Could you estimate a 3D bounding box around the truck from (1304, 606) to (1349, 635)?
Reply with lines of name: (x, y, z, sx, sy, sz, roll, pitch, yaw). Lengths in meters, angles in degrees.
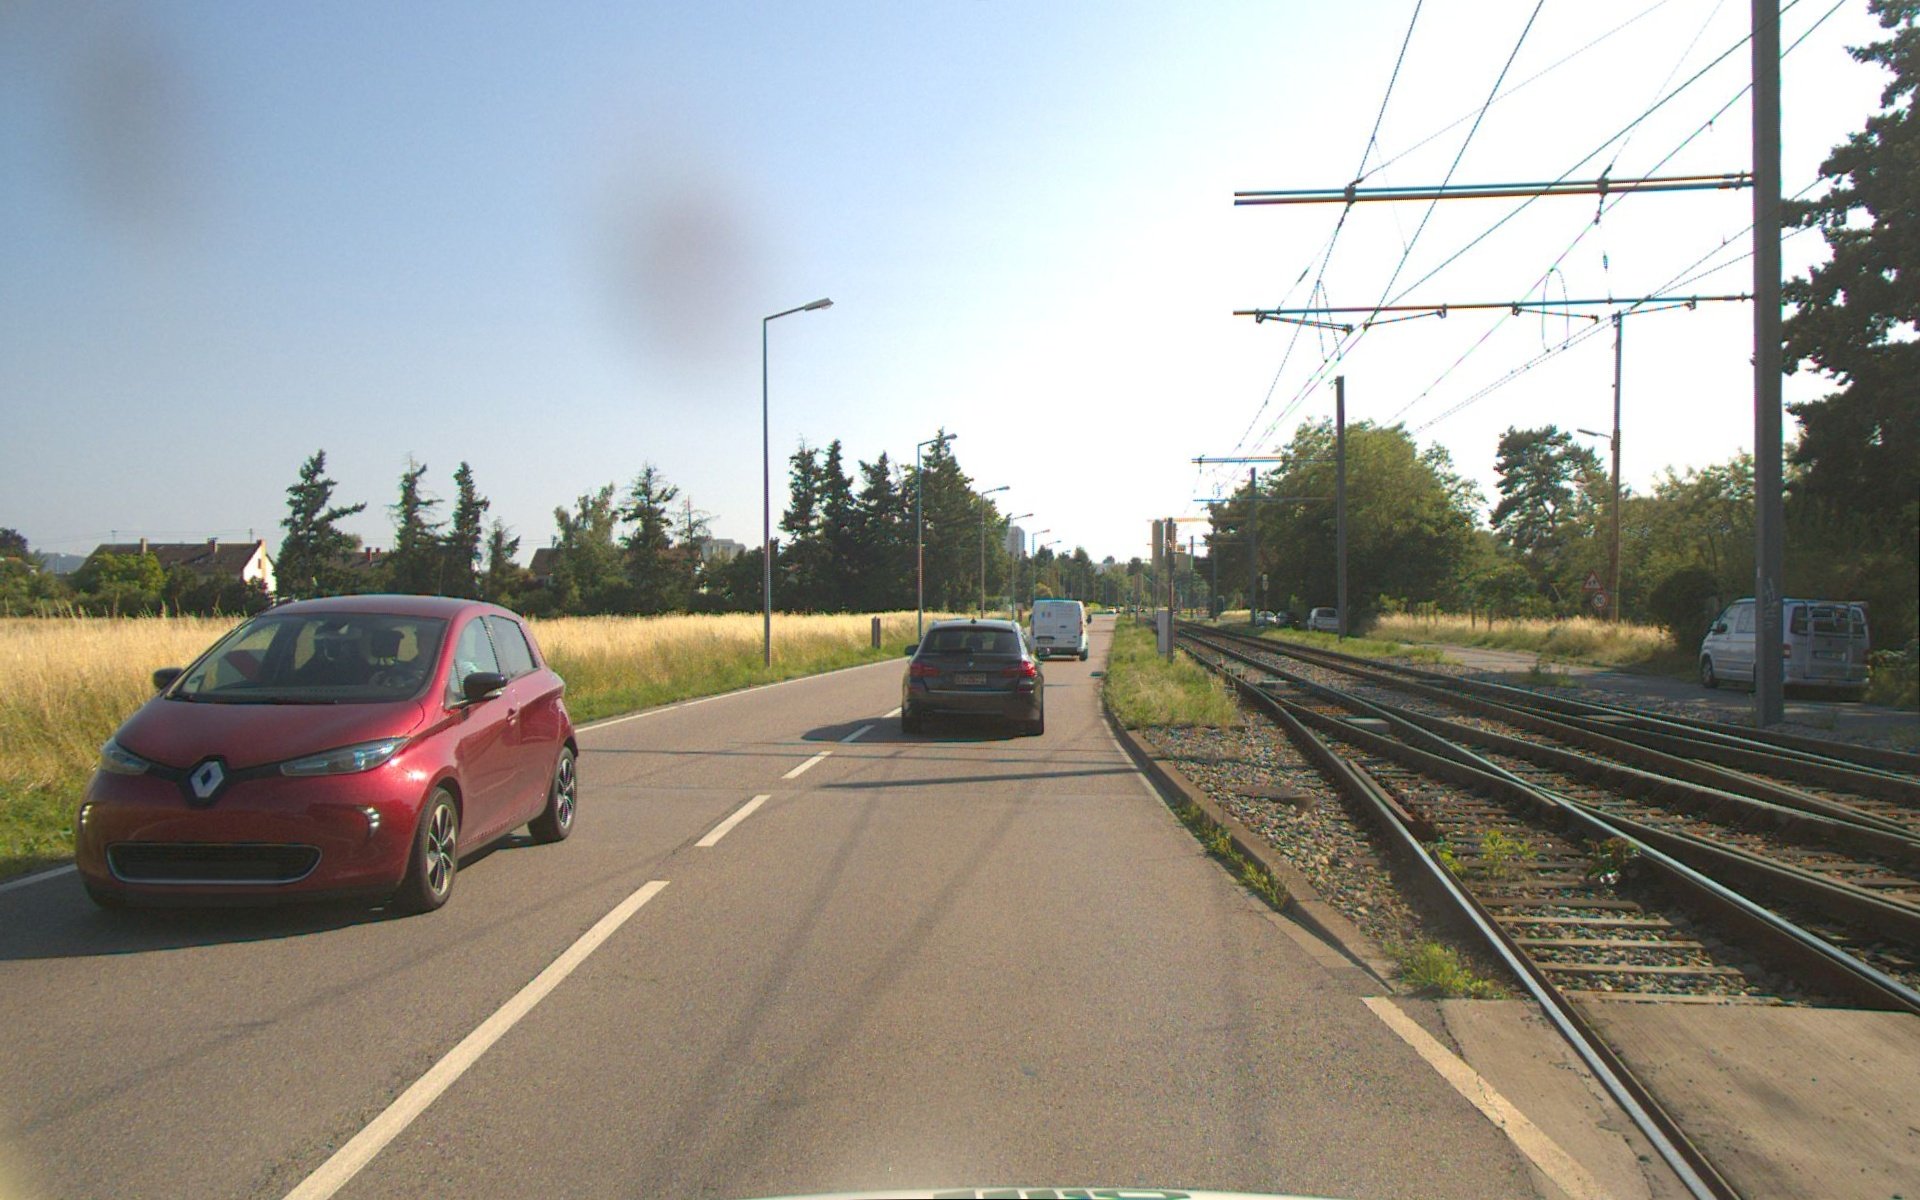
truck: (24.344, 1.337, 109.998, 2.158, 1.851, 5.933, 0, 0, 5)

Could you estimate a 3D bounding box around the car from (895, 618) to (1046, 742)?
car: (0.156, 0.999, 22.535, 1.830, 1.478, 4.744, 1, -1, 1)

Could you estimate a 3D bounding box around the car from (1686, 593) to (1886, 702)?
car: (17.234, 0.953, 34.828, 1.952, 2.039, 5.070, 3, 0, 5)

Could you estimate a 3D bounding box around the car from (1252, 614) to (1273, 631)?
car: (28.552, 2.138, 156.176, 1.587, 1.423, 3.492, 1, -2, 6)

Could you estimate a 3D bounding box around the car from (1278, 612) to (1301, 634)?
car: (27.454, 1.952, 137.959, 1.698, 1.709, 3.546, 1, -2, 8)

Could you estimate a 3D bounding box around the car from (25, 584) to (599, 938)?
car: (-3.345, 0.760, 9.417, 1.677, 1.576, 3.928, 0, -1, 0)

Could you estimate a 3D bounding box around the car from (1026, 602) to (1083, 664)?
car: (3.234, 1.086, 57.303, 1.819, 2.023, 5.109, 1, 0, 2)
